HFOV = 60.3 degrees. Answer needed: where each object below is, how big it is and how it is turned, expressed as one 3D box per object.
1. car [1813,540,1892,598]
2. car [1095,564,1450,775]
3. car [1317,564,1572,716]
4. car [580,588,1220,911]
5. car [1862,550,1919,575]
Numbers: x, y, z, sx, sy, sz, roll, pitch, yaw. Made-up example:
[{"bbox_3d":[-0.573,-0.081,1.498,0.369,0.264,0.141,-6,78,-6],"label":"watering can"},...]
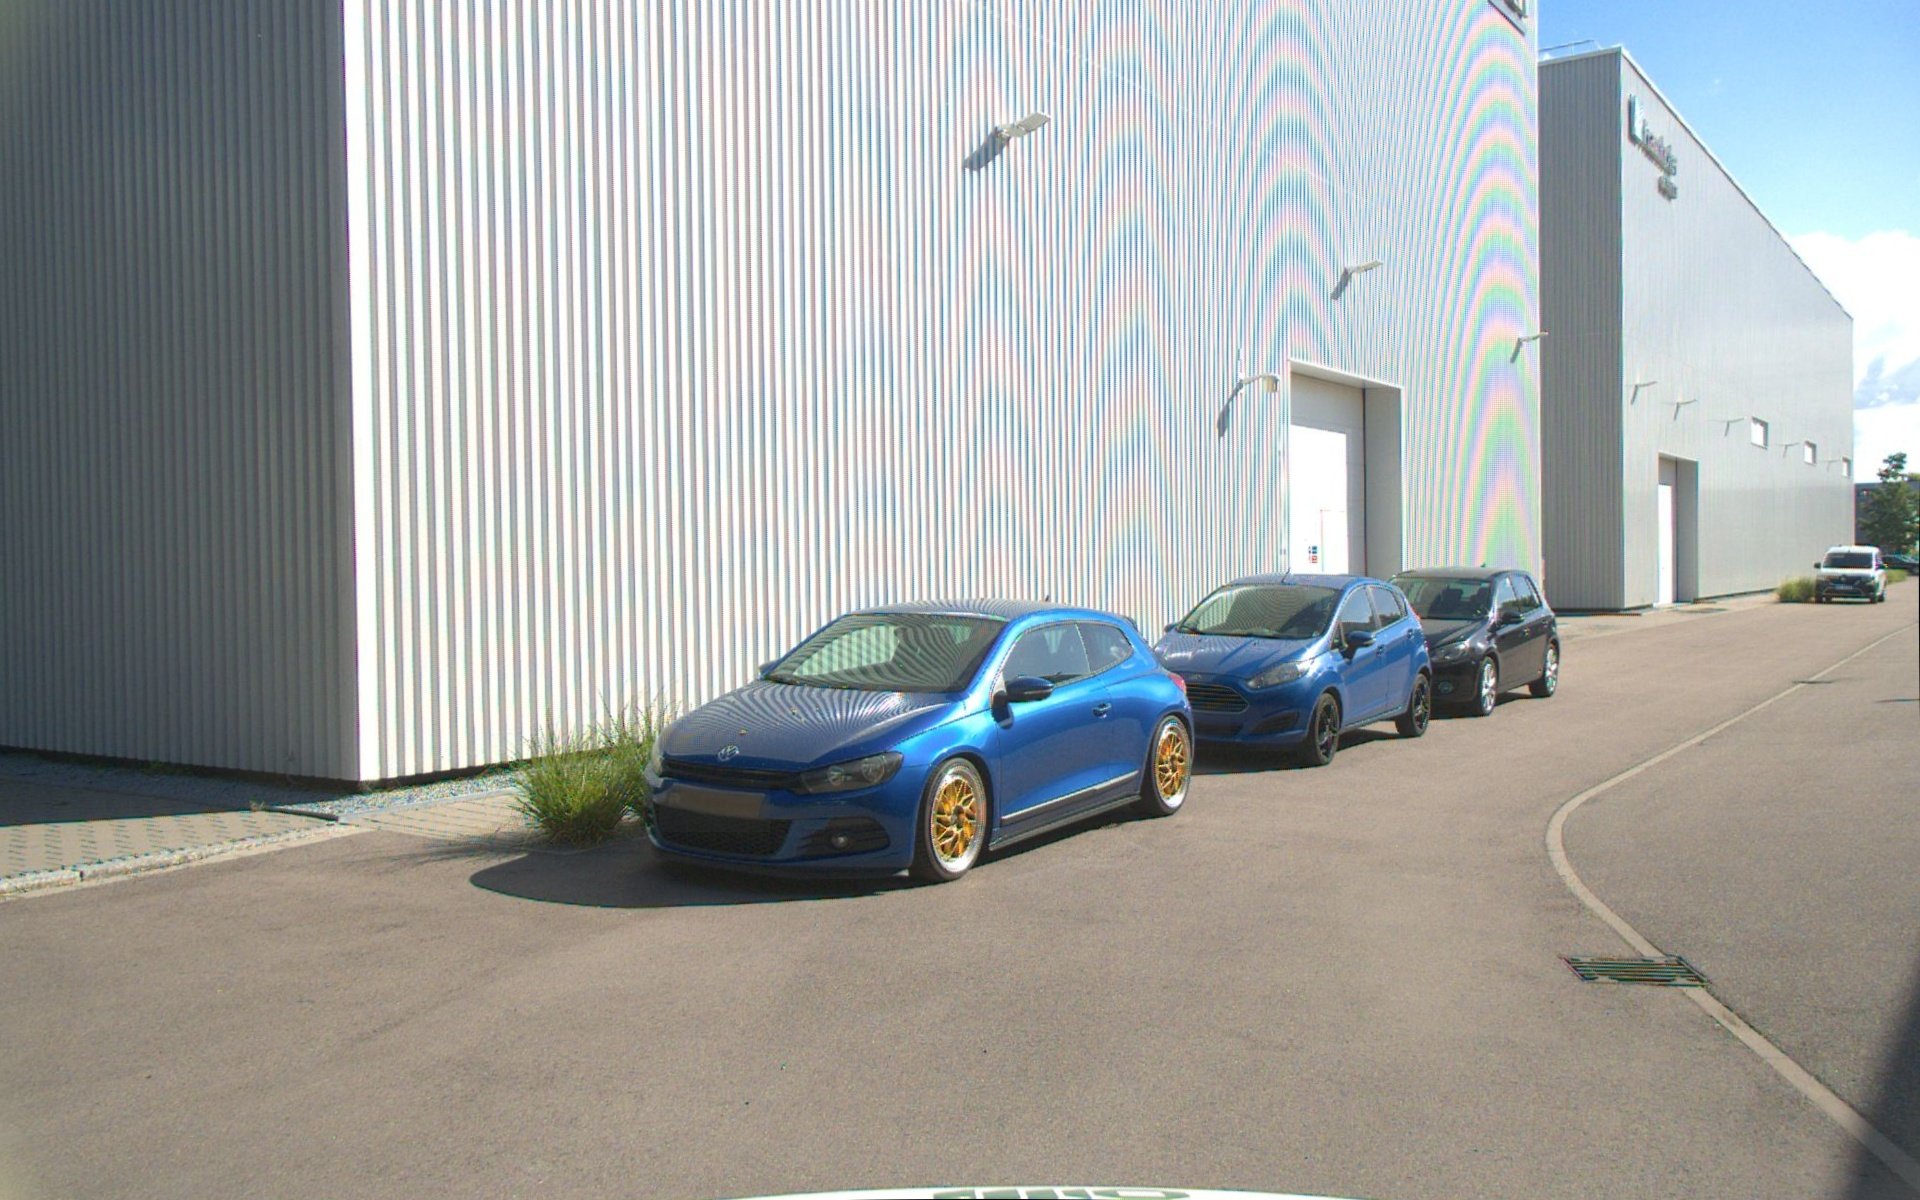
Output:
[{"bbox_3d":[29.222,-1.034,54.101,1.677,1.786,4.282,2,3,36],"label":"car"},{"bbox_3d":[2.836,0.473,14.362,1.718,1.498,3.888,2,2,32],"label":"car"},{"bbox_3d":[5.492,0.348,18.456,1.718,1.442,3.888,2,3,32],"label":"car"},{"bbox_3d":[-0.100,0.662,9.688,1.718,1.408,4.158,0,1,32],"label":"car"},{"bbox_3d":[70.713,-2.827,125.378,4.011,1.806,1.896,-1,1,33],"label":"car"}]
